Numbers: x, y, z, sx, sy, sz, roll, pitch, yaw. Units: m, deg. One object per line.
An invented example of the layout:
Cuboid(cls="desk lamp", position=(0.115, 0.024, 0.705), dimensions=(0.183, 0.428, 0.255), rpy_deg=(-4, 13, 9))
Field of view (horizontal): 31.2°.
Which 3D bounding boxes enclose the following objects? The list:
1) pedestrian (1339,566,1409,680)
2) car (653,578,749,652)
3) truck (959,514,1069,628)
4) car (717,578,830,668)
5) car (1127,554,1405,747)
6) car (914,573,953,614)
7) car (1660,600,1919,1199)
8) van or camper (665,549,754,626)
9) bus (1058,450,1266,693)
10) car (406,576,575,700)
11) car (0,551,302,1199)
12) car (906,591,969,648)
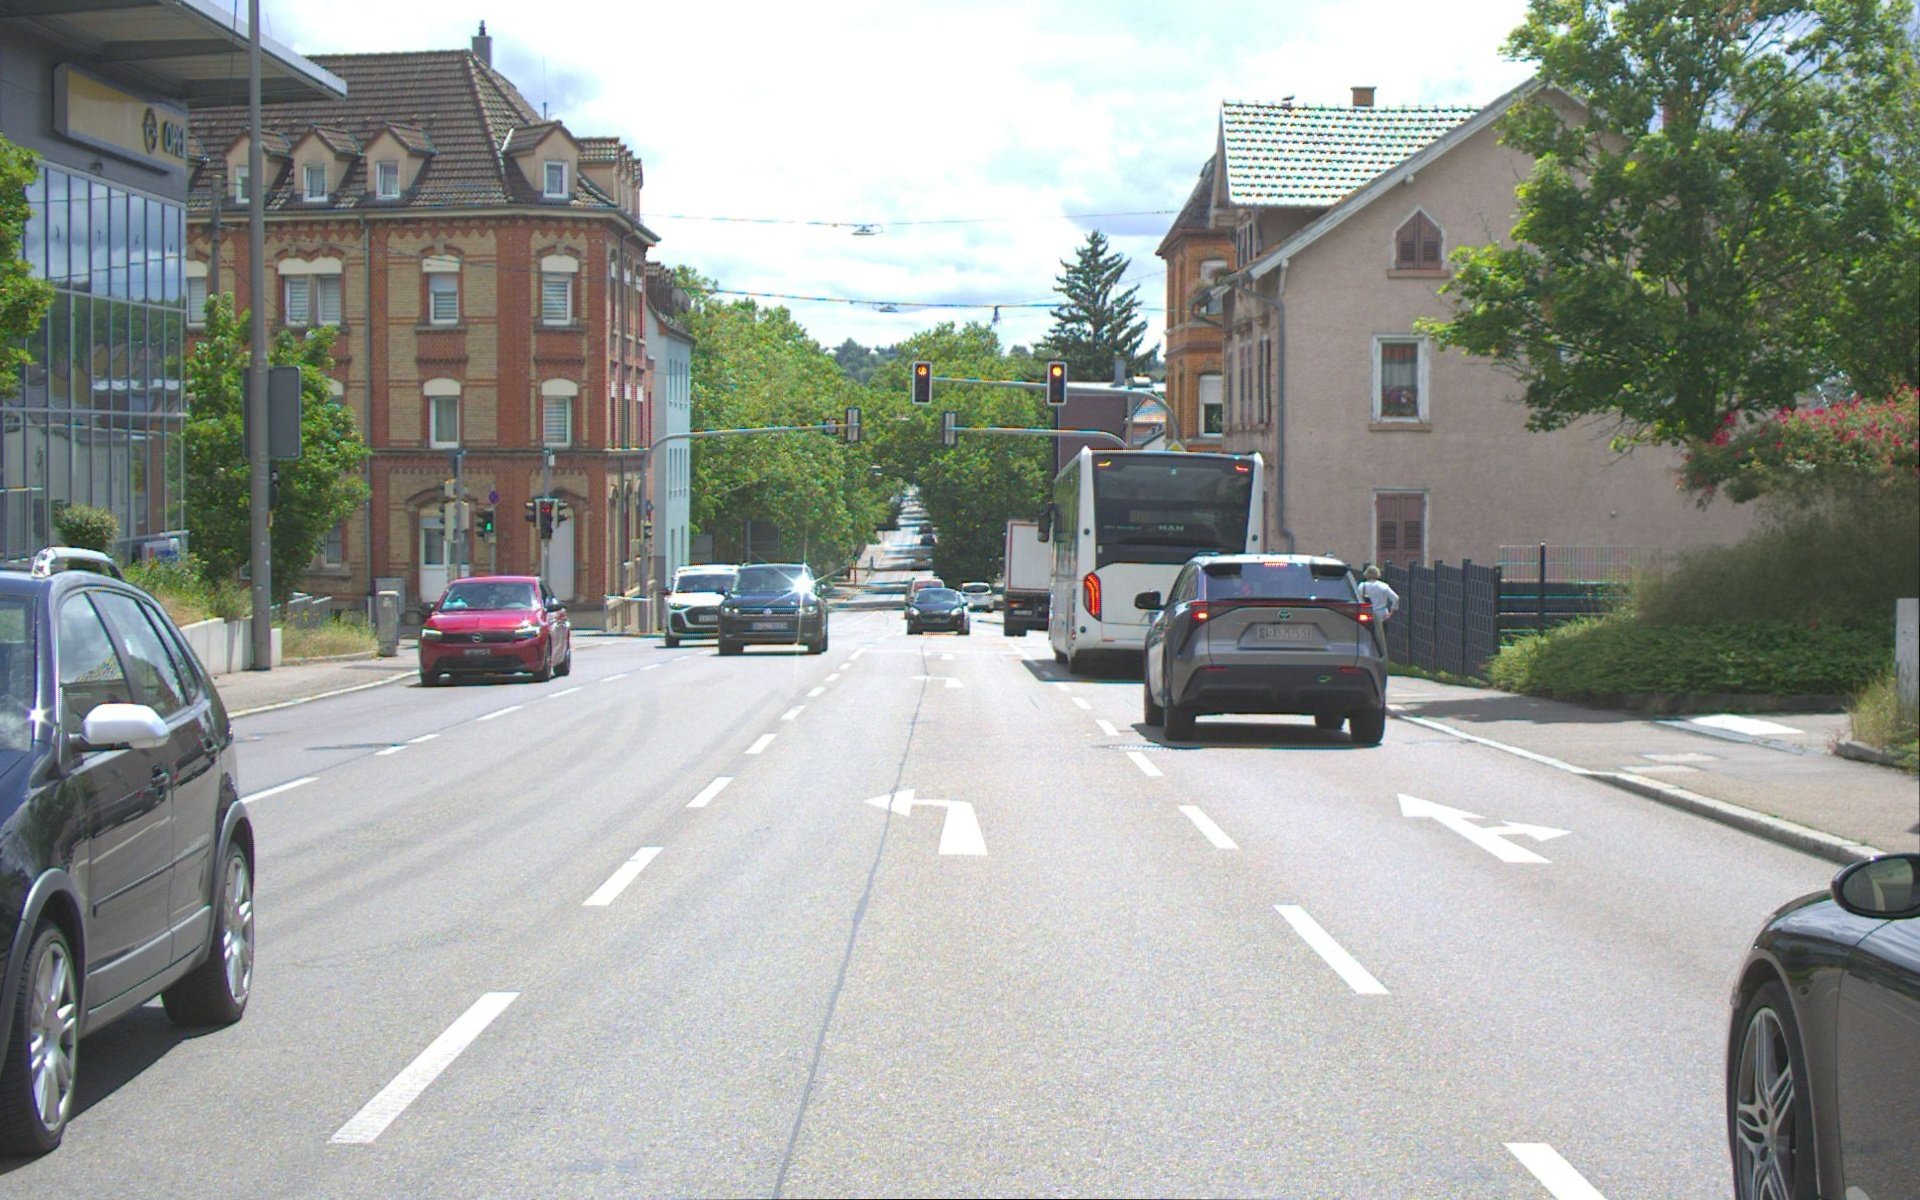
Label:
Cuboid(cls="pedestrian", position=(5.864, 0.317, 48.747), dimensions=(0.813, 1.576, 1.069), rpy_deg=(-2, 1, 0))
Cuboid(cls="car", position=(-5.575, 0.307, 74.453), dimensions=(1.864, 1.535, 4.107), rpy_deg=(0, 1, -1))
Cuboid(cls="truck", position=(1.479, -0.846, 98.772), dimensions=(2.666, 3.097, 9.036), rpy_deg=(-1, 1, -2))
Cuboid(cls="car", position=(-3.328, 0.388, 62.021), dimensions=(1.864, 1.535, 4.107), rpy_deg=(0, 1, -1))
Cuboid(cls="car", position=(2.610, 0.421, 30.250), dimensions=(1.930, 1.578, 4.208), rpy_deg=(0, 0, -2))
Cuboid(cls="car", position=(-1.307, -0.332, 169.973), dimensions=(1.832, 1.875, 4.001), rpy_deg=(-1, 2, -1))
Cuboid(cls="car", position=(2.532, 0.803, 5.636), dimensions=(1.930, 1.372, 4.209), rpy_deg=(0, 3, 1))
Cuboid(cls="van or camper", position=(-6.404, -0.341, 88.247), dimensions=(1.970, 1.908, 5.129), rpy_deg=(0, 1, -1))
Cuboid(cls="bus", position=(2.923, -0.657, 52.840), dimensions=(2.802, 3.186, 12.197), rpy_deg=(0, 3, 2))
Cuboid(cls="car", position=(-6.342, 0.478, 46.787), dimensions=(1.871, 1.486, 3.849), rpy_deg=(-3, 1, -2))
Cuboid(cls="car", position=(-3.160, 0.633, 9.810), dimensions=(1.829, 1.504, 4.277), rpy_deg=(-1, 1, -1))
Cuboid(cls="car", position=(-0.685, 0.576, 104.207), dimensions=(1.864, 1.660, 4.259), rpy_deg=(0, 1, -1))
